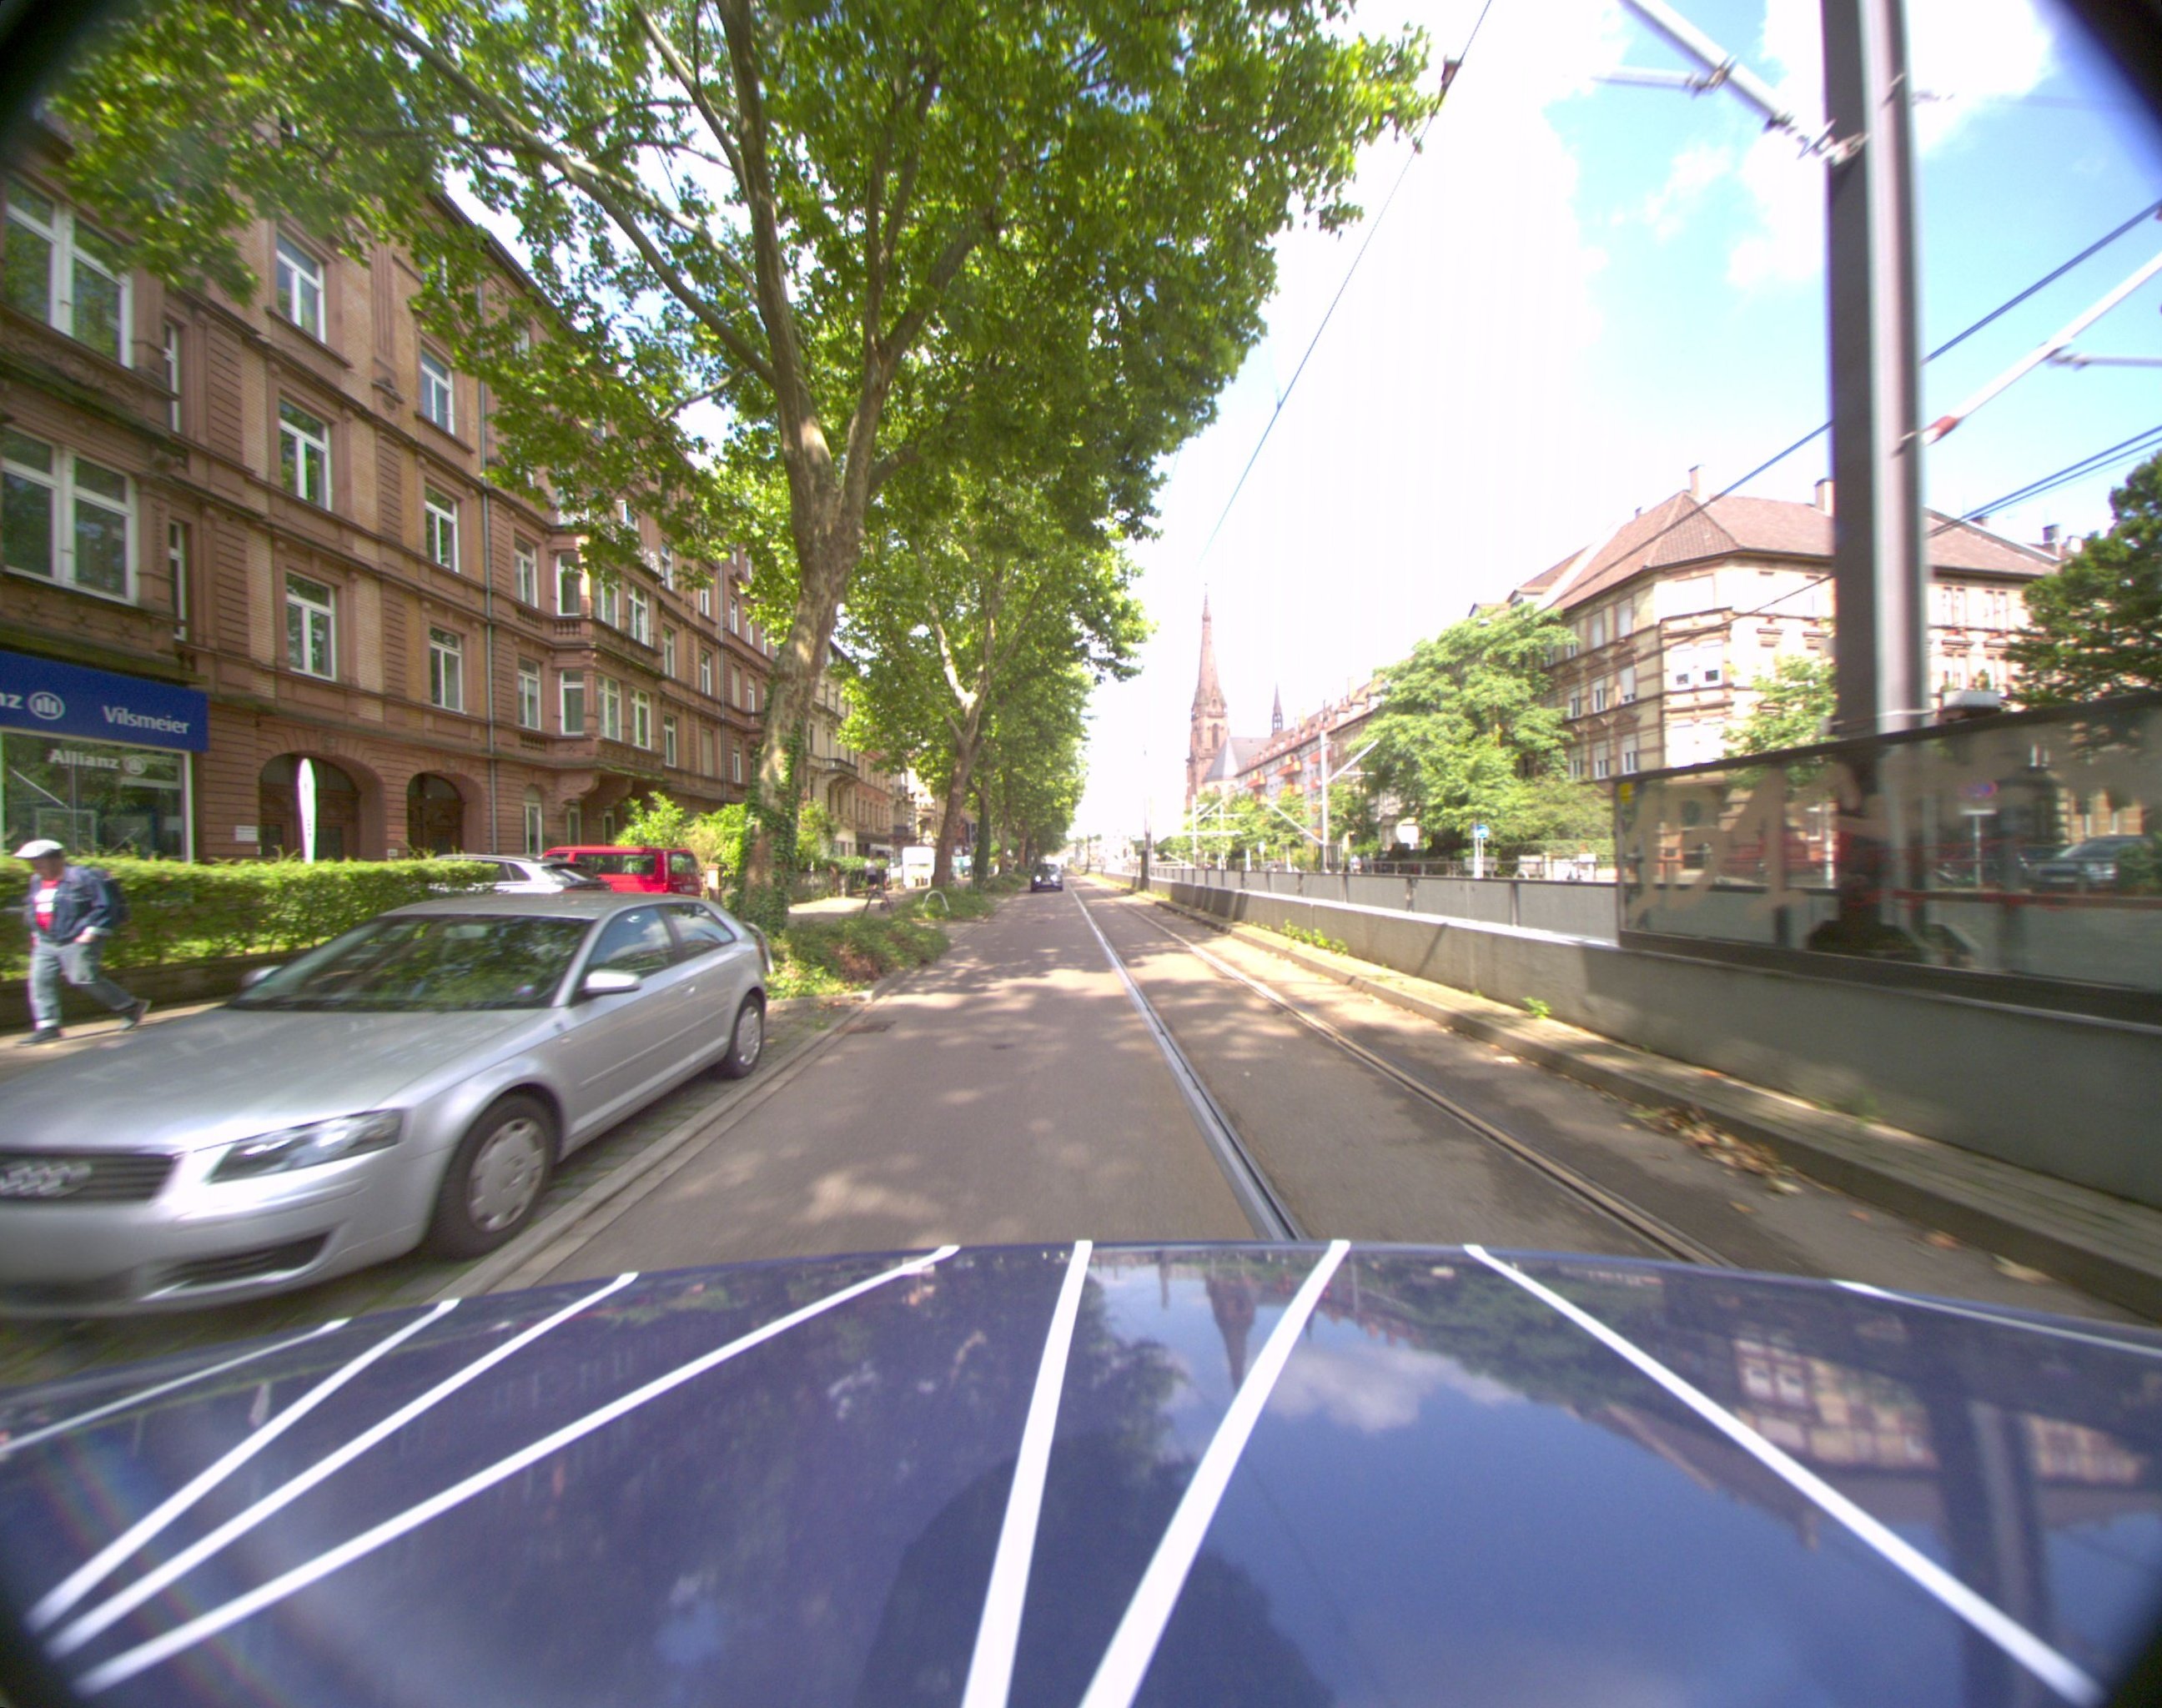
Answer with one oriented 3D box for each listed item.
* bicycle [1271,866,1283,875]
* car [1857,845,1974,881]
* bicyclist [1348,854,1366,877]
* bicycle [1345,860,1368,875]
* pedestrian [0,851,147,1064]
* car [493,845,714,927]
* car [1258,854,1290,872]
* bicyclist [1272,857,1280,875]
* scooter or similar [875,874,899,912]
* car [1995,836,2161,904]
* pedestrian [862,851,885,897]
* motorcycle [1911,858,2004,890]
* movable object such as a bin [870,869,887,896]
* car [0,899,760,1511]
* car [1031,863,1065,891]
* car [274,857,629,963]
[{"bbox_3d":[17.170,1.475,66.653,0.497,0.763,1.816,-1,0,-2],"label":"bicycle"},{"bbox_3d":[37.971,0.371,34.605,4.002,1.527,1.923,-1,1,-15],"label":"car"},{"bbox_3d":[17.728,0.736,48.775,0.740,1.470,0.978,0,0,-2],"label":"bicyclist"},{"bbox_3d":[17.711,0.854,48.837,0.728,0.990,1.898,0,0,-2],"label":"bicycle"},{"bbox_3d":[-8.888,0.866,6.661,0.565,1.775,0.630,-1,0,-2],"label":"pedestrian"},{"bbox_3d":[-12.260,0.803,19.758,4.408,1.927,1.983,2,0,-1],"label":"car"},{"bbox_3d":[19.173,0.889,75.587,1.999,1.628,4.113,-1,0,-2],"label":"car"},{"bbox_3d":[17.136,1.076,66.639,0.505,1.535,0.607,-1,0,-2],"label":"bicyclist"},{"bbox_3d":[-6.429,1.283,25.236,0.468,1.203,1.323,-1,0,-2],"label":"scooter or similar"},{"bbox_3d":[26.704,0.362,19.778,3.963,1.597,2.035,-2,0,-10],"label":"car"},{"bbox_3d":[-9.362,0.899,34.278,0.766,2.001,1.119,1,0,-6],"label":"pedestrian"},{"bbox_3d":[28.893,0.648,25.089,0.523,0.988,1.998,-1,0,-13],"label":"motorcycle"},{"bbox_3d":[-9.406,1.307,35.252,0.609,1.202,1.058,1,0,-7],"label":"movable object such as a bin"},{"bbox_3d":[-3.293,1.064,3.953,1.682,1.435,3.858,-1,0,-2],"label":"car"},{"bbox_3d":[-1.830,1.265,43.270,1.800,1.454,4.567,-1,0,-1],"label":"car"},{"bbox_3d":[-11.461,0.959,14.225,4.736,1.772,2.004,0,0,-9],"label":"car"}]
